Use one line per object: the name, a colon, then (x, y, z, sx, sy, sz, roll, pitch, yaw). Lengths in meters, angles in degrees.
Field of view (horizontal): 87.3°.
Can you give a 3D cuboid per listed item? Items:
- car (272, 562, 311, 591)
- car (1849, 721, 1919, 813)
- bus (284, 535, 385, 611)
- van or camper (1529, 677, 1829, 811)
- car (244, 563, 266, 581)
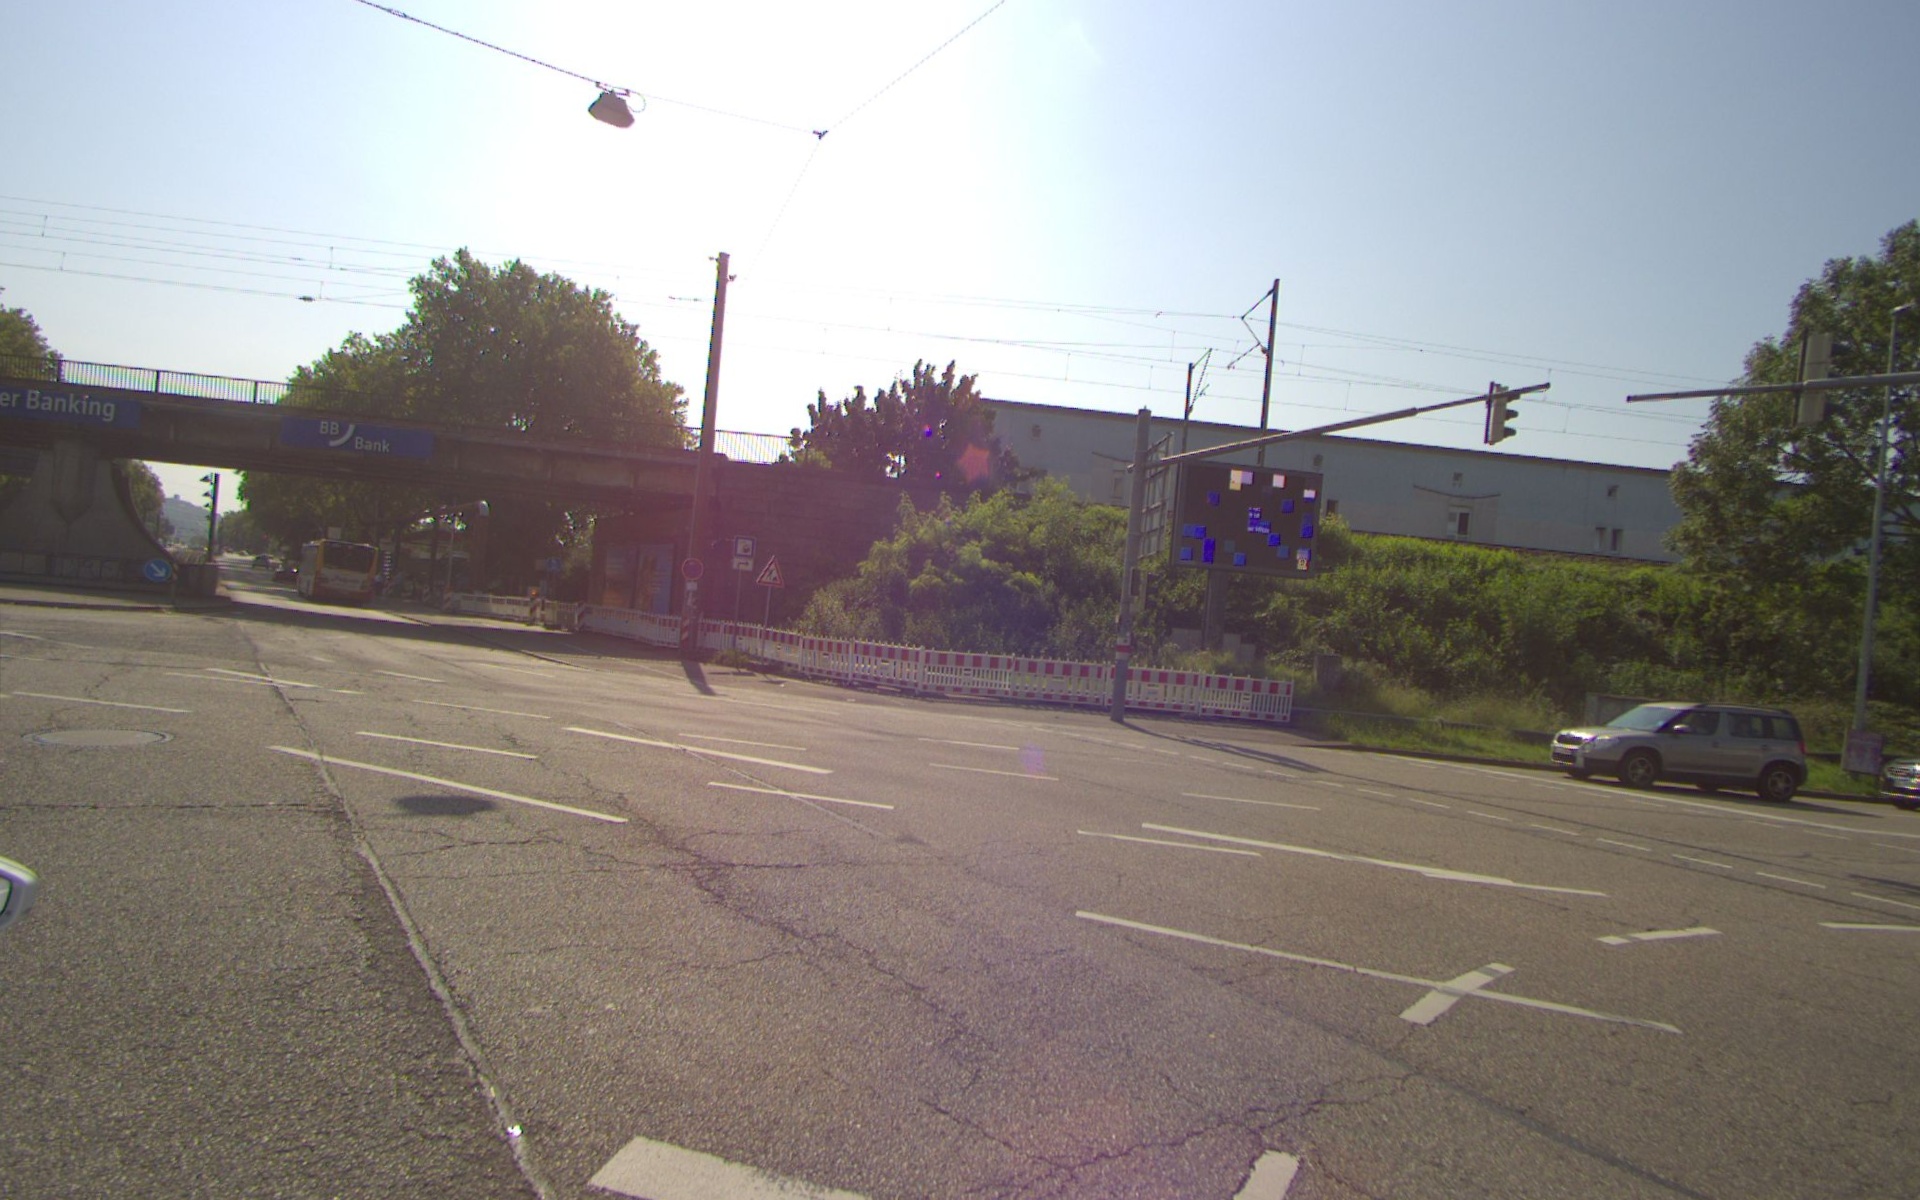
car: (-53.906, -1.889, 81.053, 1.987, 2.036, 3.957, 9, -4, -40)
car: (19.446, 3.278, 18.821, 3.927, 1.569, 2.001, 5, -3, -4)
bus: (-33.324, -1.435, 53.288, 3.123, 3.145, 12.172, 11, -5, -37)
van or camper: (13.103, 2.591, 18.509, 4.098, 1.796, 1.853, 7, -3, -2)
car: (-95.381, -3.764, 136.104, 1.987, 2.036, 3.957, 9, -4, -40)
